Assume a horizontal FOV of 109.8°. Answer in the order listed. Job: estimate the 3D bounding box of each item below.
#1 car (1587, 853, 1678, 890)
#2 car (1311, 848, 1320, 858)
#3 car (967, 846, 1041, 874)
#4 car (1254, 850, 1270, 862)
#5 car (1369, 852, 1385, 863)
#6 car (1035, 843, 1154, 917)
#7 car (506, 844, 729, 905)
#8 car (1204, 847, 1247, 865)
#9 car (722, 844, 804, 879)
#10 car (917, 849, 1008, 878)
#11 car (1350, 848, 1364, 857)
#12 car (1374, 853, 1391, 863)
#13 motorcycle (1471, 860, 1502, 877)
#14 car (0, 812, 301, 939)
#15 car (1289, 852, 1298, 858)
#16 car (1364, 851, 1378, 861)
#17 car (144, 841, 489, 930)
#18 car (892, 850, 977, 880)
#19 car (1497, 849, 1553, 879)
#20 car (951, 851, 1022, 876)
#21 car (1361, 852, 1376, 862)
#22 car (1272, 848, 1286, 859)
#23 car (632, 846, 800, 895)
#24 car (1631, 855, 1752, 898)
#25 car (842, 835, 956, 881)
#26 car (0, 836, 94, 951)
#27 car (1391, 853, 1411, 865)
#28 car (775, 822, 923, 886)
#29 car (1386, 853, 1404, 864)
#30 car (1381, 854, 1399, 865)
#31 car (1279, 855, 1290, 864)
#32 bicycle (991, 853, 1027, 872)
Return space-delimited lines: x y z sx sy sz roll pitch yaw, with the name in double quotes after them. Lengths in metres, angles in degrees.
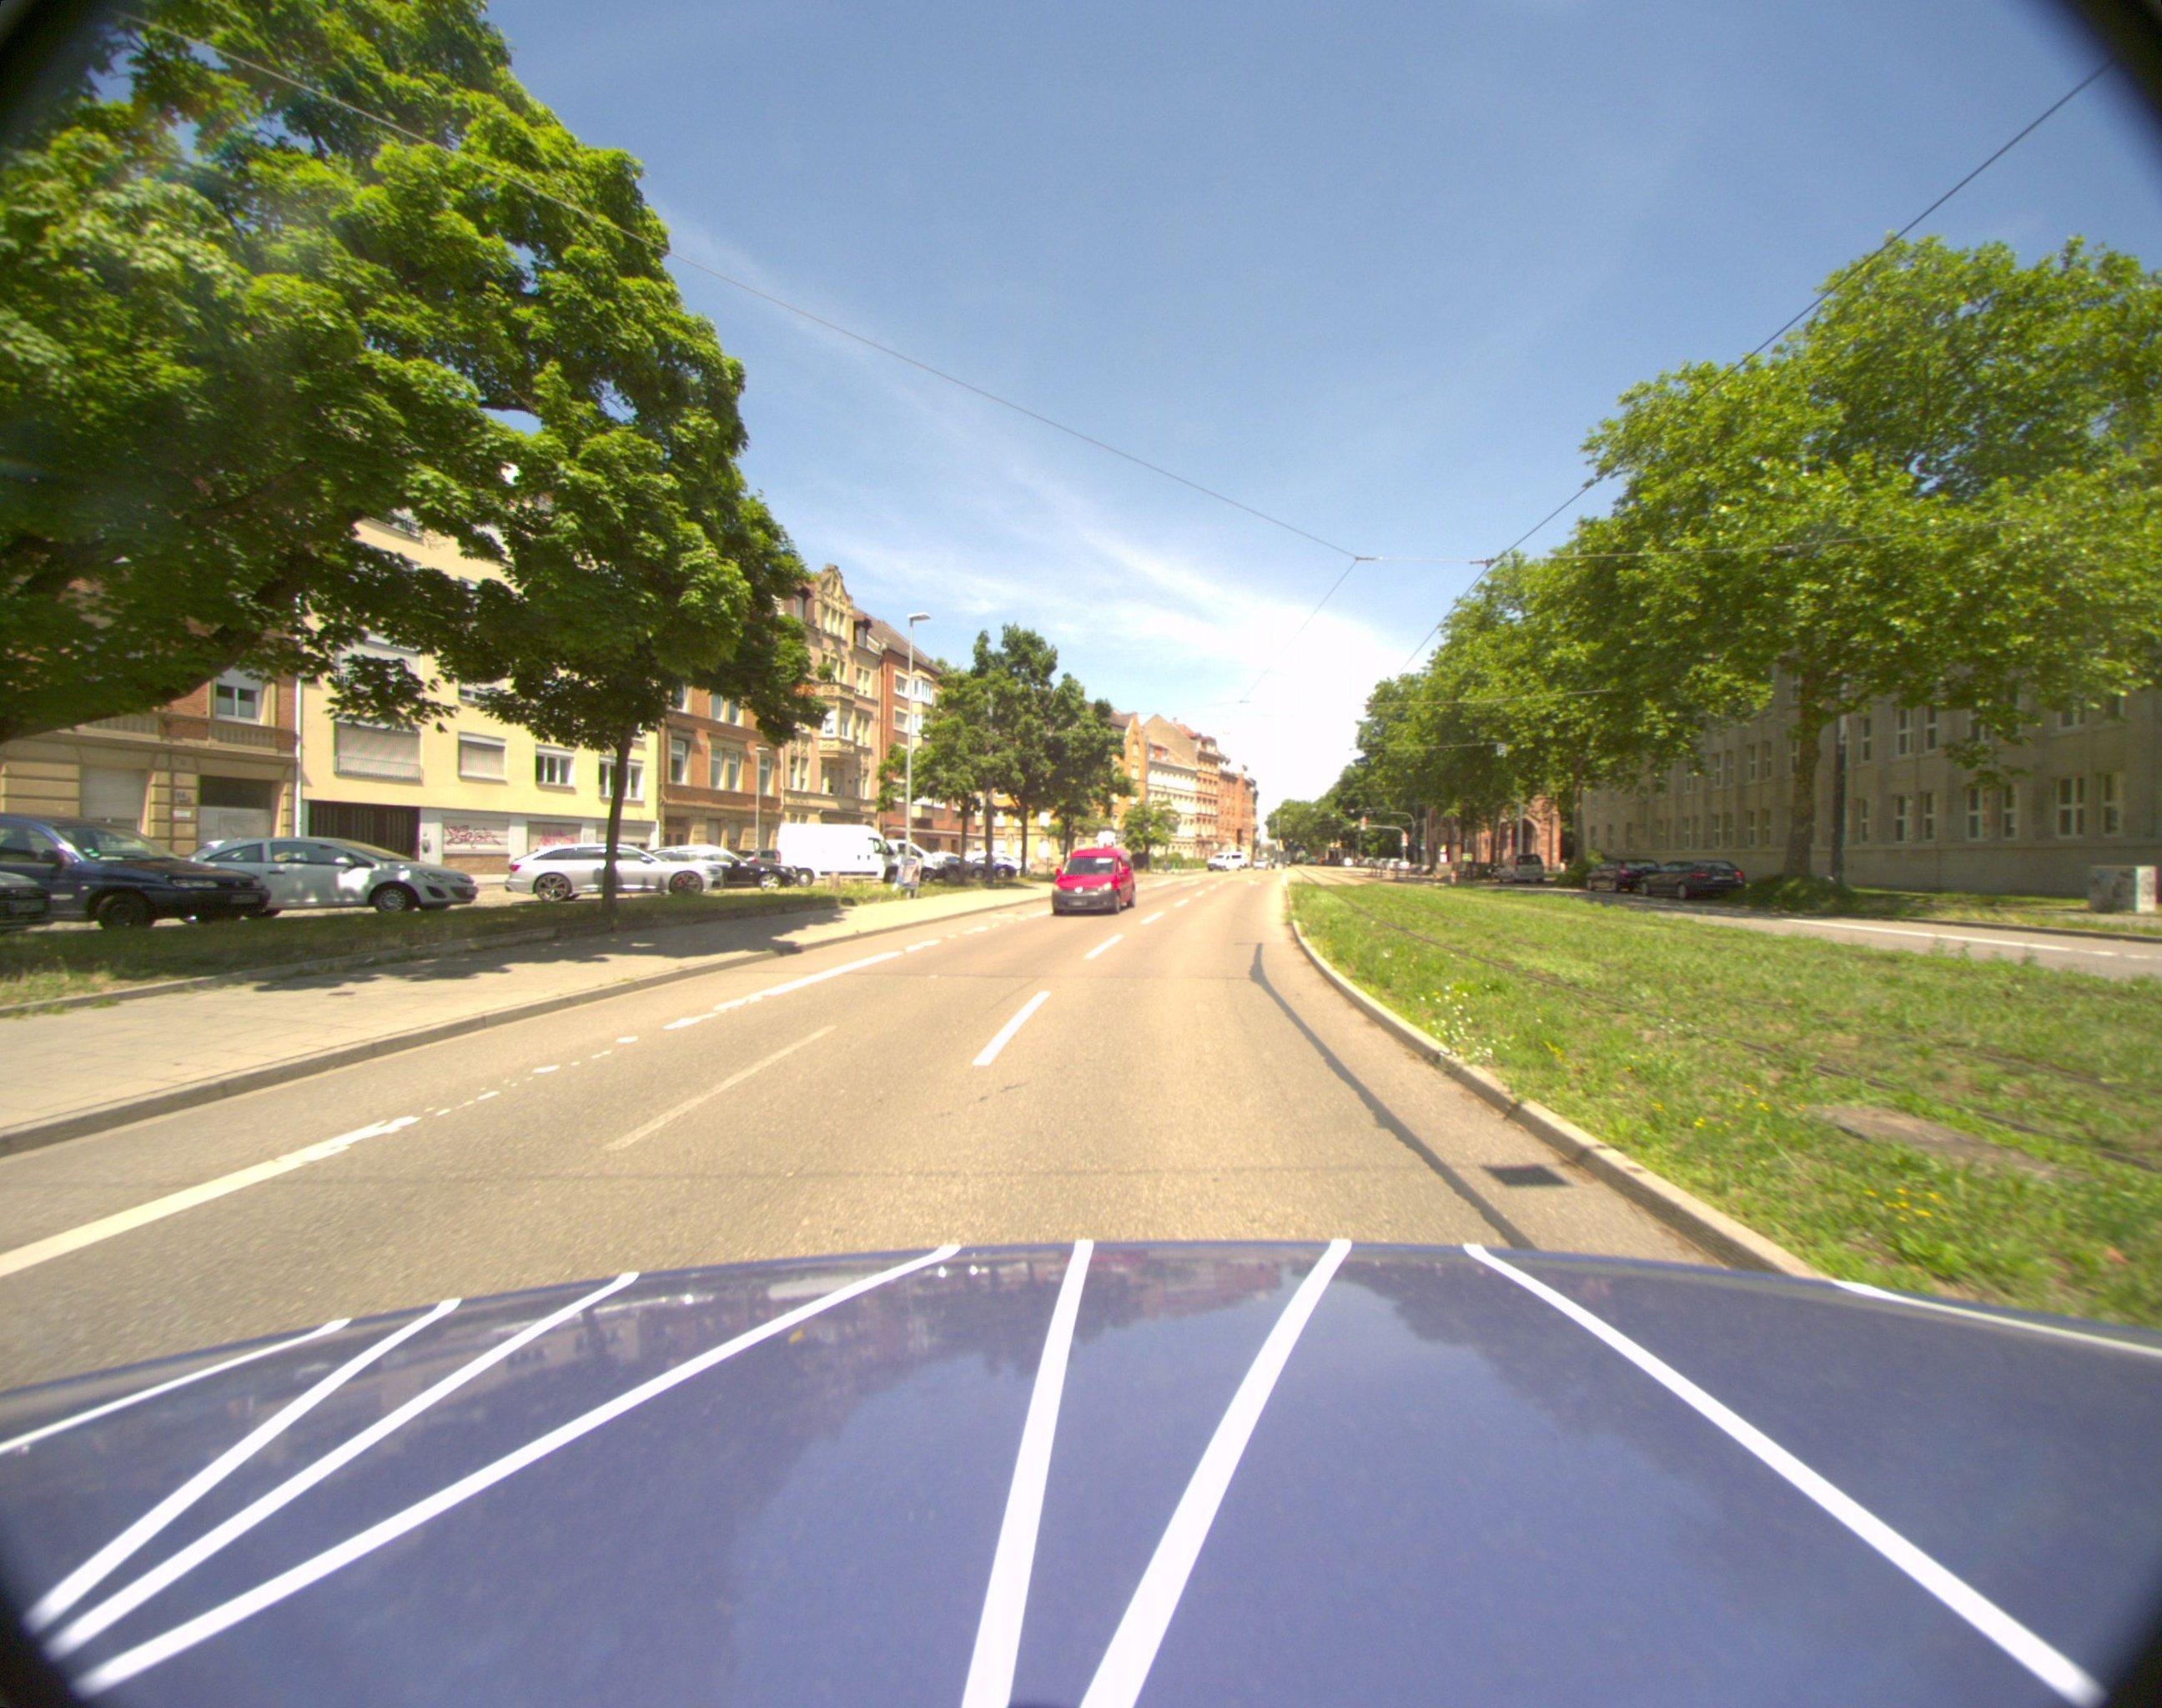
23.551 0.724 32.646 1.765 1.474 4.328 -1 0 15 "car"
56.256 -0.307 182.522 1.819 2.283 3.765 -1 0 12 "car"
-4.764 0.352 46.916 4.412 1.622 1.999 -1 0 -7 "car"
23.552 0.254 98.780 1.798 1.565 4.005 -1 0 16 "car"
44.264 0.519 113.552 1.745 1.514 3.757 -1 0 13 "car"
0.550 0.648 21.503 1.857 1.823 5.173 -1 0 18 "car"
-11.861 0.491 19.873 4.698 1.419 1.968 -1 0 -22 "car"
15.703 0.202 82.374 2.161 1.926 4.864 -1 0 44 "car"
-16.131 0.359 38.803 1.821 1.674 4.004 -1 0 13 "car"
-6.329 0.497 40.670 4.633 1.488 1.964 -1 0 -9 "car"
52.955 -0.273 145.898 1.975 1.553 4.004 -1 0 11 "car"
43.022 0.588 108.534 1.745 1.450 3.757 -1 0 13 "car"
27.394 0.954 51.339 1.873 1.062 0.726 -2 1 -16 "motorcycle"
-14.398 0.289 10.926 4.001 1.652 1.970 -1 0 -11 "car"
53.168 0.221 189.910 1.749 1.387 4.351 -2 0 12 "car"
47.040 0.279 123.463 1.745 1.643 3.910 -1 0 15 "car"
-13.400 0.500 13.667 4.004 1.392 1.709 -1 0 -21 "car"
-7.180 0.538 37.538 3.999 1.378 1.823 -1 0 -6 "car"
27.271 0.587 46.775 1.996 1.800 4.306 -1 0 16 "car"
-5.427 0.545 43.882 3.999 1.391 1.823 -1 0 -6 "car"
49.386 0.539 130.625 1.996 1.707 4.004 -1 0 15 "car"
29.313 -0.110 112.374 1.798 1.565 4.005 -1 0 16 "car"
-11.012 0.462 23.261 4.436 1.330 1.968 -1 0 -22 "car"
21.975 0.763 27.587 1.590 1.415 4.327 -1 0 11 "car"
-8.231 0.172 34.502 4.850 1.961 2.074 -1 0 -14 "car"
-14.609 0.480 7.915 4.794 1.306 2.145 -1 0 -27 "car"
39.347 0.611 93.400 1.660 1.450 4.225 -1 0 15 "car"
-9.472 -0.033 30.992 5.557 2.446 2.234 -1 0 -22 "car"
40.567 0.556 98.233 1.660 1.450 4.063 -1 0 15 "car"
41.788 0.683 102.821 1.661 1.450 4.063 -1 0 13 "car"
35.959 1.018 134.200 1.798 1.565 4.004 -1 0 13 "car"
-4.785 0.549 50.607 2.365 1.186 0.739 -1 0 -44 "bicycle"
